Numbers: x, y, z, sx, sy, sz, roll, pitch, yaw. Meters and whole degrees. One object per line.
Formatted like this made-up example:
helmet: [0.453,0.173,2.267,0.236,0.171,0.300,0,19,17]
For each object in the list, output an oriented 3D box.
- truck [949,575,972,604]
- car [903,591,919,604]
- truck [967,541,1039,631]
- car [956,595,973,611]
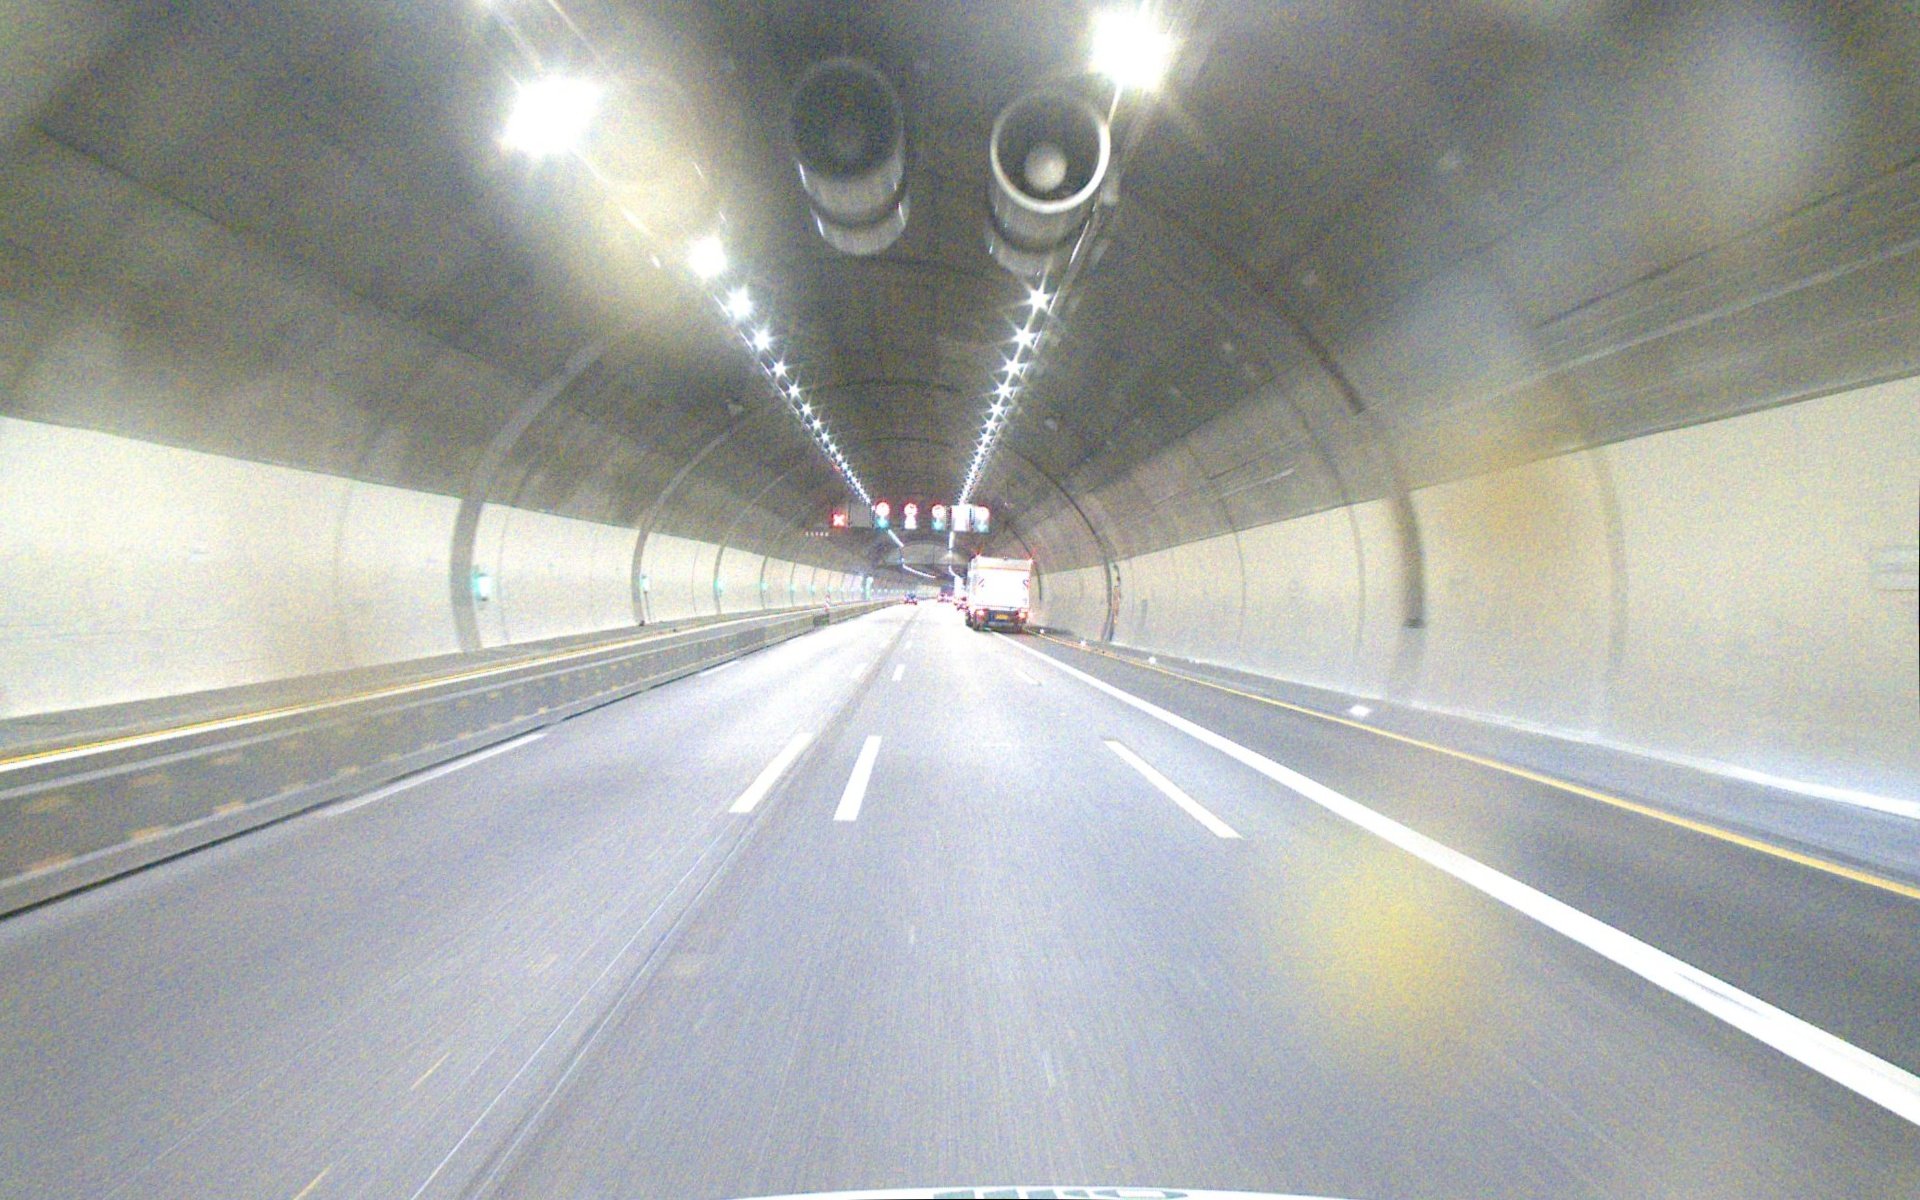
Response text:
truck: [0.114,-1.505,239.544,3.003,3.986,10.368,2,-1,1]
car: [-5.934,-0.339,200.855,1.723,1.486,4.118,1,1,0]
truck: [1.987,-0.596,80.846,3.029,3.986,10.366,2,-1,-1]
car: [0.481,0.296,169.873,1.704,1.486,3.961,1,1,1]
